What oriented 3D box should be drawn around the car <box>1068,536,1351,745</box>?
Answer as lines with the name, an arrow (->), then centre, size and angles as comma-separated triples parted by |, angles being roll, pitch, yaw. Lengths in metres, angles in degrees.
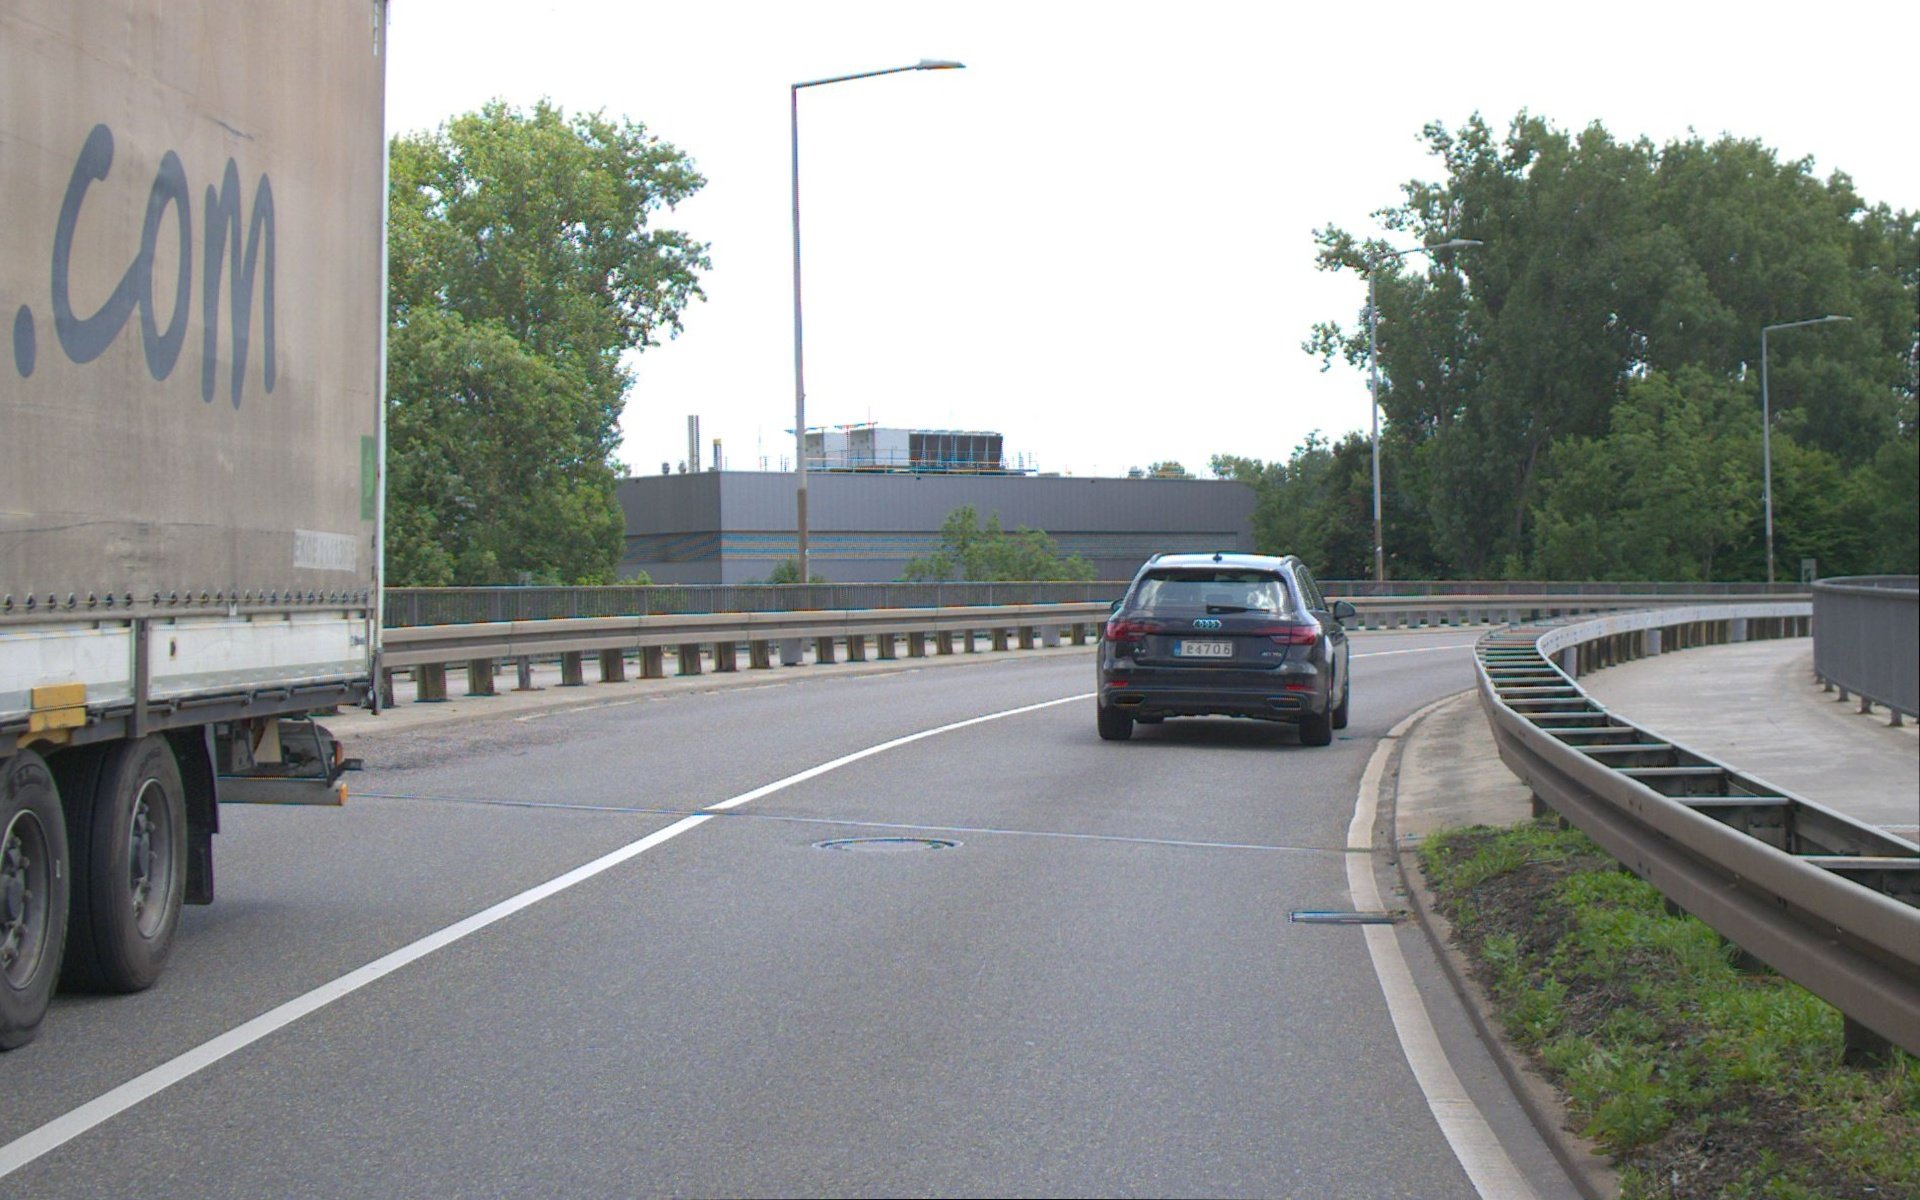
car -> 2.055, 0.254, 27.232 | 1.828, 1.486, 4.205 | 1, 1, 10

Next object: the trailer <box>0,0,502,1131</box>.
trailer -> -3.907, -0.718, 9.079 | 2.706, 4.265, 14.231 | 0, 1, 3
